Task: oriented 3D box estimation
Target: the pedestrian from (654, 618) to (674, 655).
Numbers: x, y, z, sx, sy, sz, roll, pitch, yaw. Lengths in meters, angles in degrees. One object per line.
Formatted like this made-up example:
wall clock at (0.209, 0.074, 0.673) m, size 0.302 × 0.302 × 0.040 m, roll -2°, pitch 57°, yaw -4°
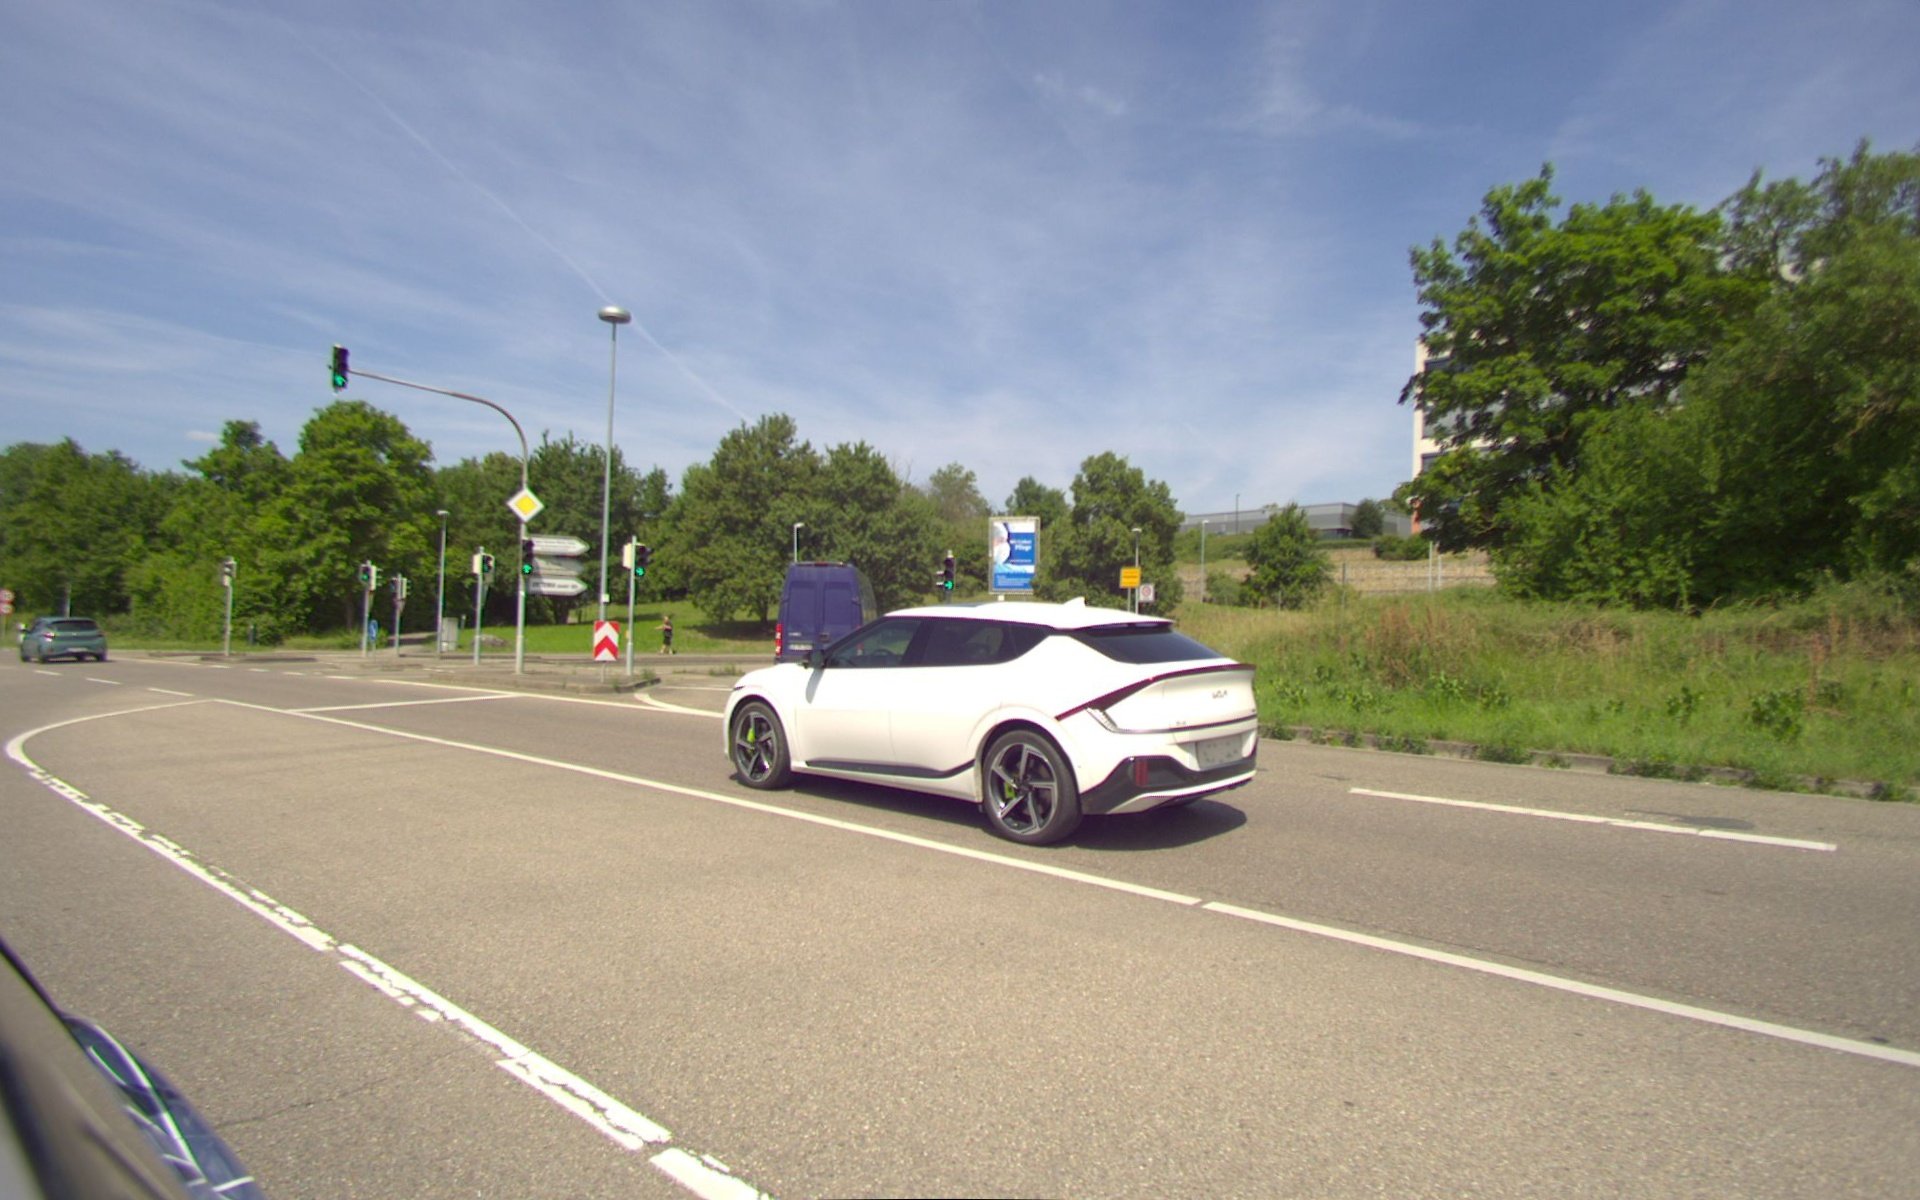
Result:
pedestrian at (-14.322, 1.779, 49.023) m, size 0.906 × 1.749 × 0.902 m, roll 0°, pitch -1°, yaw -17°

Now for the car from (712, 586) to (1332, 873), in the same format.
car at (0.203, 0.720, 7.796) m, size 4.628 × 1.560 × 1.916 m, roll -1°, pitch 0°, yaw 43°

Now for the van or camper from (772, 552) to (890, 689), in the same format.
van or camper at (-3.014, 0.651, 25.337) m, size 2.214 × 2.936 × 7.248 m, roll 0°, pitch -3°, yaw -2°

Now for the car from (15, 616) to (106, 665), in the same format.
car at (-29.932, 1.306, 33.653) m, size 3.828 × 1.494 × 1.690 m, roll -1°, pitch -1°, yaw 39°
